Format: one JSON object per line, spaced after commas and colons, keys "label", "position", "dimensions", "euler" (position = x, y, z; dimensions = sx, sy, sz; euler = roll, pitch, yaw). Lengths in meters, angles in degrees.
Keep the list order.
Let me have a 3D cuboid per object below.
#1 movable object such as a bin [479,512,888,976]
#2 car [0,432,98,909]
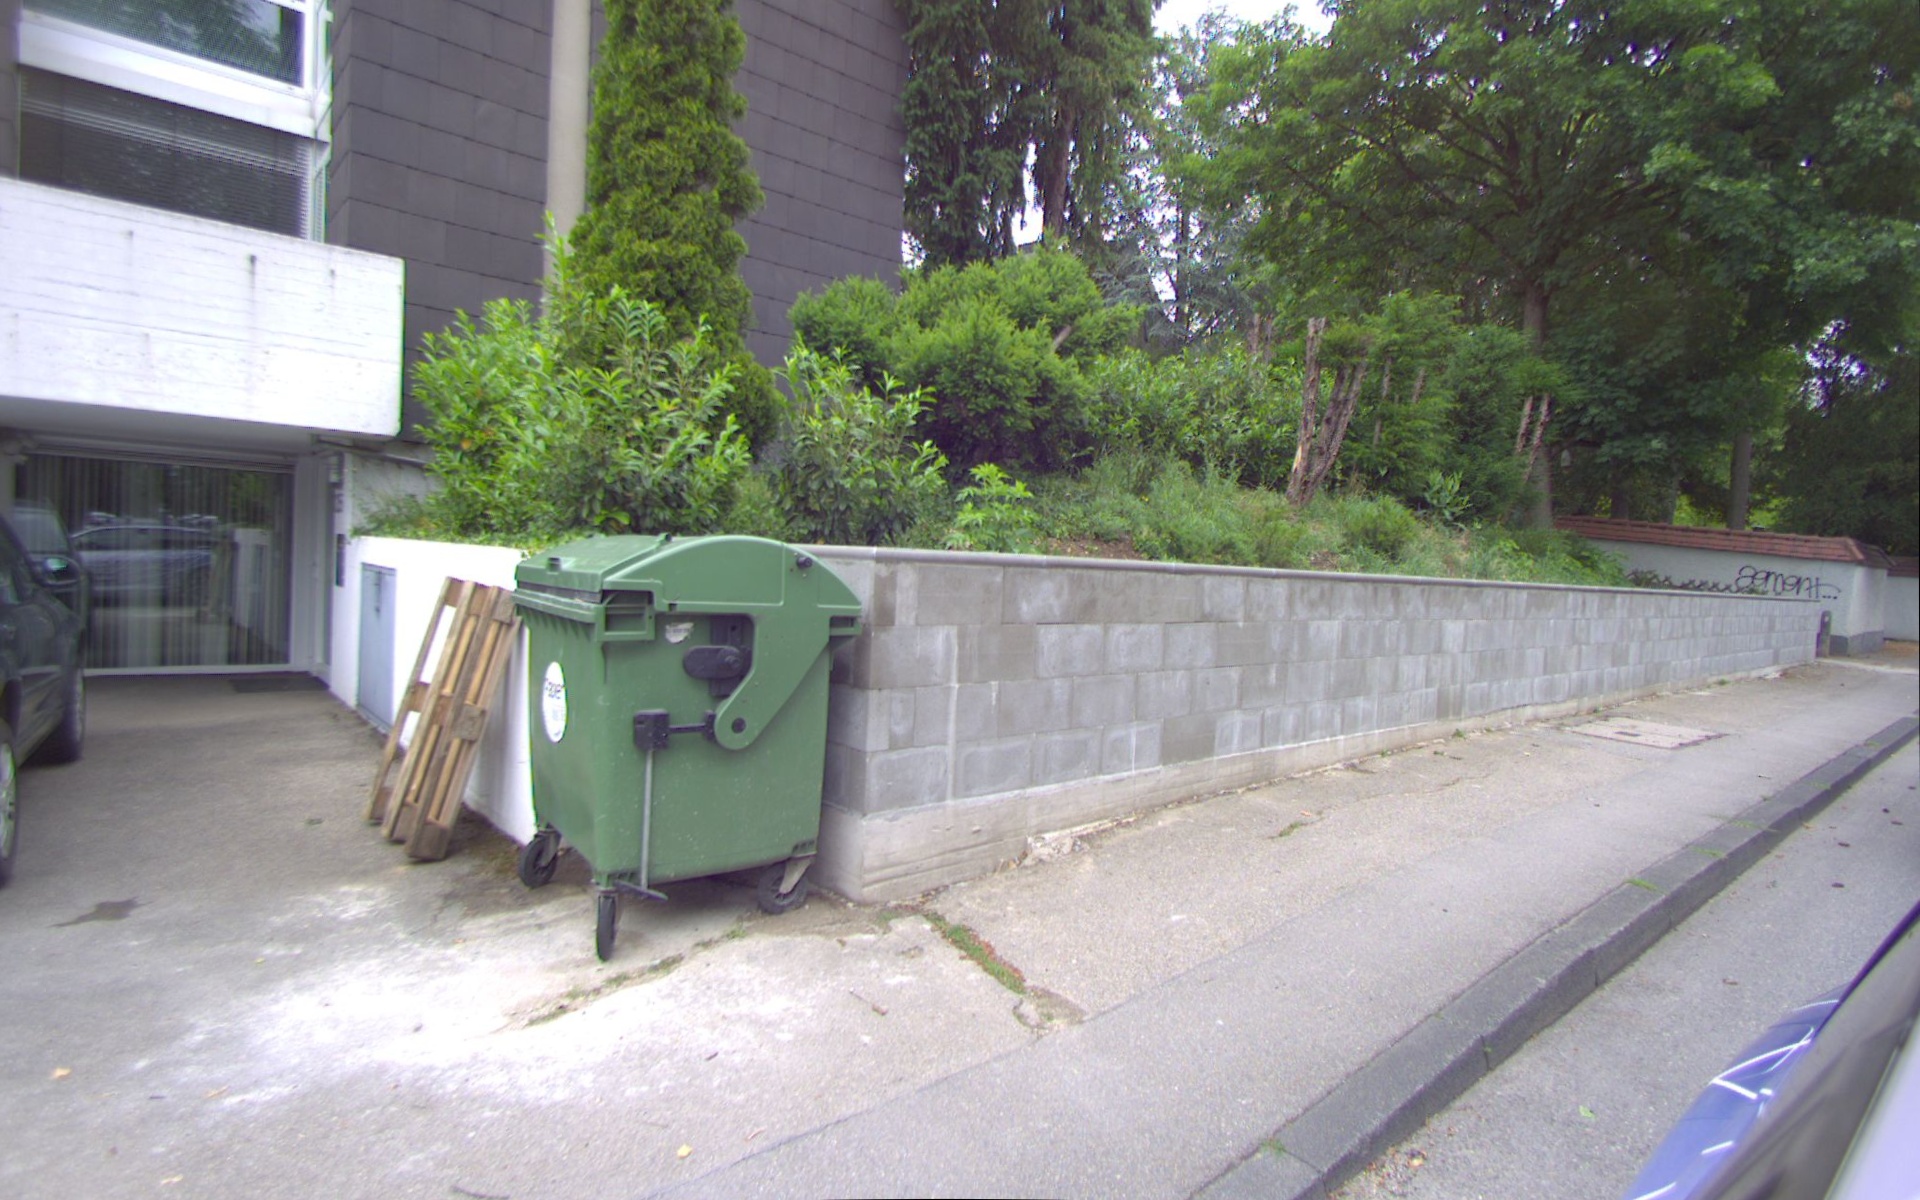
{"label": "movable object such as a bin", "position": [-1.156, 0.416, 4.082], "dimensions": [1.096, 1.469, 1.407], "euler": [0, 3, -40]}
{"label": "car", "position": [-5.021, 0.147, 4.356], "dimensions": [1.712, 1.671, 3.914], "euler": [0, 4, -36]}
